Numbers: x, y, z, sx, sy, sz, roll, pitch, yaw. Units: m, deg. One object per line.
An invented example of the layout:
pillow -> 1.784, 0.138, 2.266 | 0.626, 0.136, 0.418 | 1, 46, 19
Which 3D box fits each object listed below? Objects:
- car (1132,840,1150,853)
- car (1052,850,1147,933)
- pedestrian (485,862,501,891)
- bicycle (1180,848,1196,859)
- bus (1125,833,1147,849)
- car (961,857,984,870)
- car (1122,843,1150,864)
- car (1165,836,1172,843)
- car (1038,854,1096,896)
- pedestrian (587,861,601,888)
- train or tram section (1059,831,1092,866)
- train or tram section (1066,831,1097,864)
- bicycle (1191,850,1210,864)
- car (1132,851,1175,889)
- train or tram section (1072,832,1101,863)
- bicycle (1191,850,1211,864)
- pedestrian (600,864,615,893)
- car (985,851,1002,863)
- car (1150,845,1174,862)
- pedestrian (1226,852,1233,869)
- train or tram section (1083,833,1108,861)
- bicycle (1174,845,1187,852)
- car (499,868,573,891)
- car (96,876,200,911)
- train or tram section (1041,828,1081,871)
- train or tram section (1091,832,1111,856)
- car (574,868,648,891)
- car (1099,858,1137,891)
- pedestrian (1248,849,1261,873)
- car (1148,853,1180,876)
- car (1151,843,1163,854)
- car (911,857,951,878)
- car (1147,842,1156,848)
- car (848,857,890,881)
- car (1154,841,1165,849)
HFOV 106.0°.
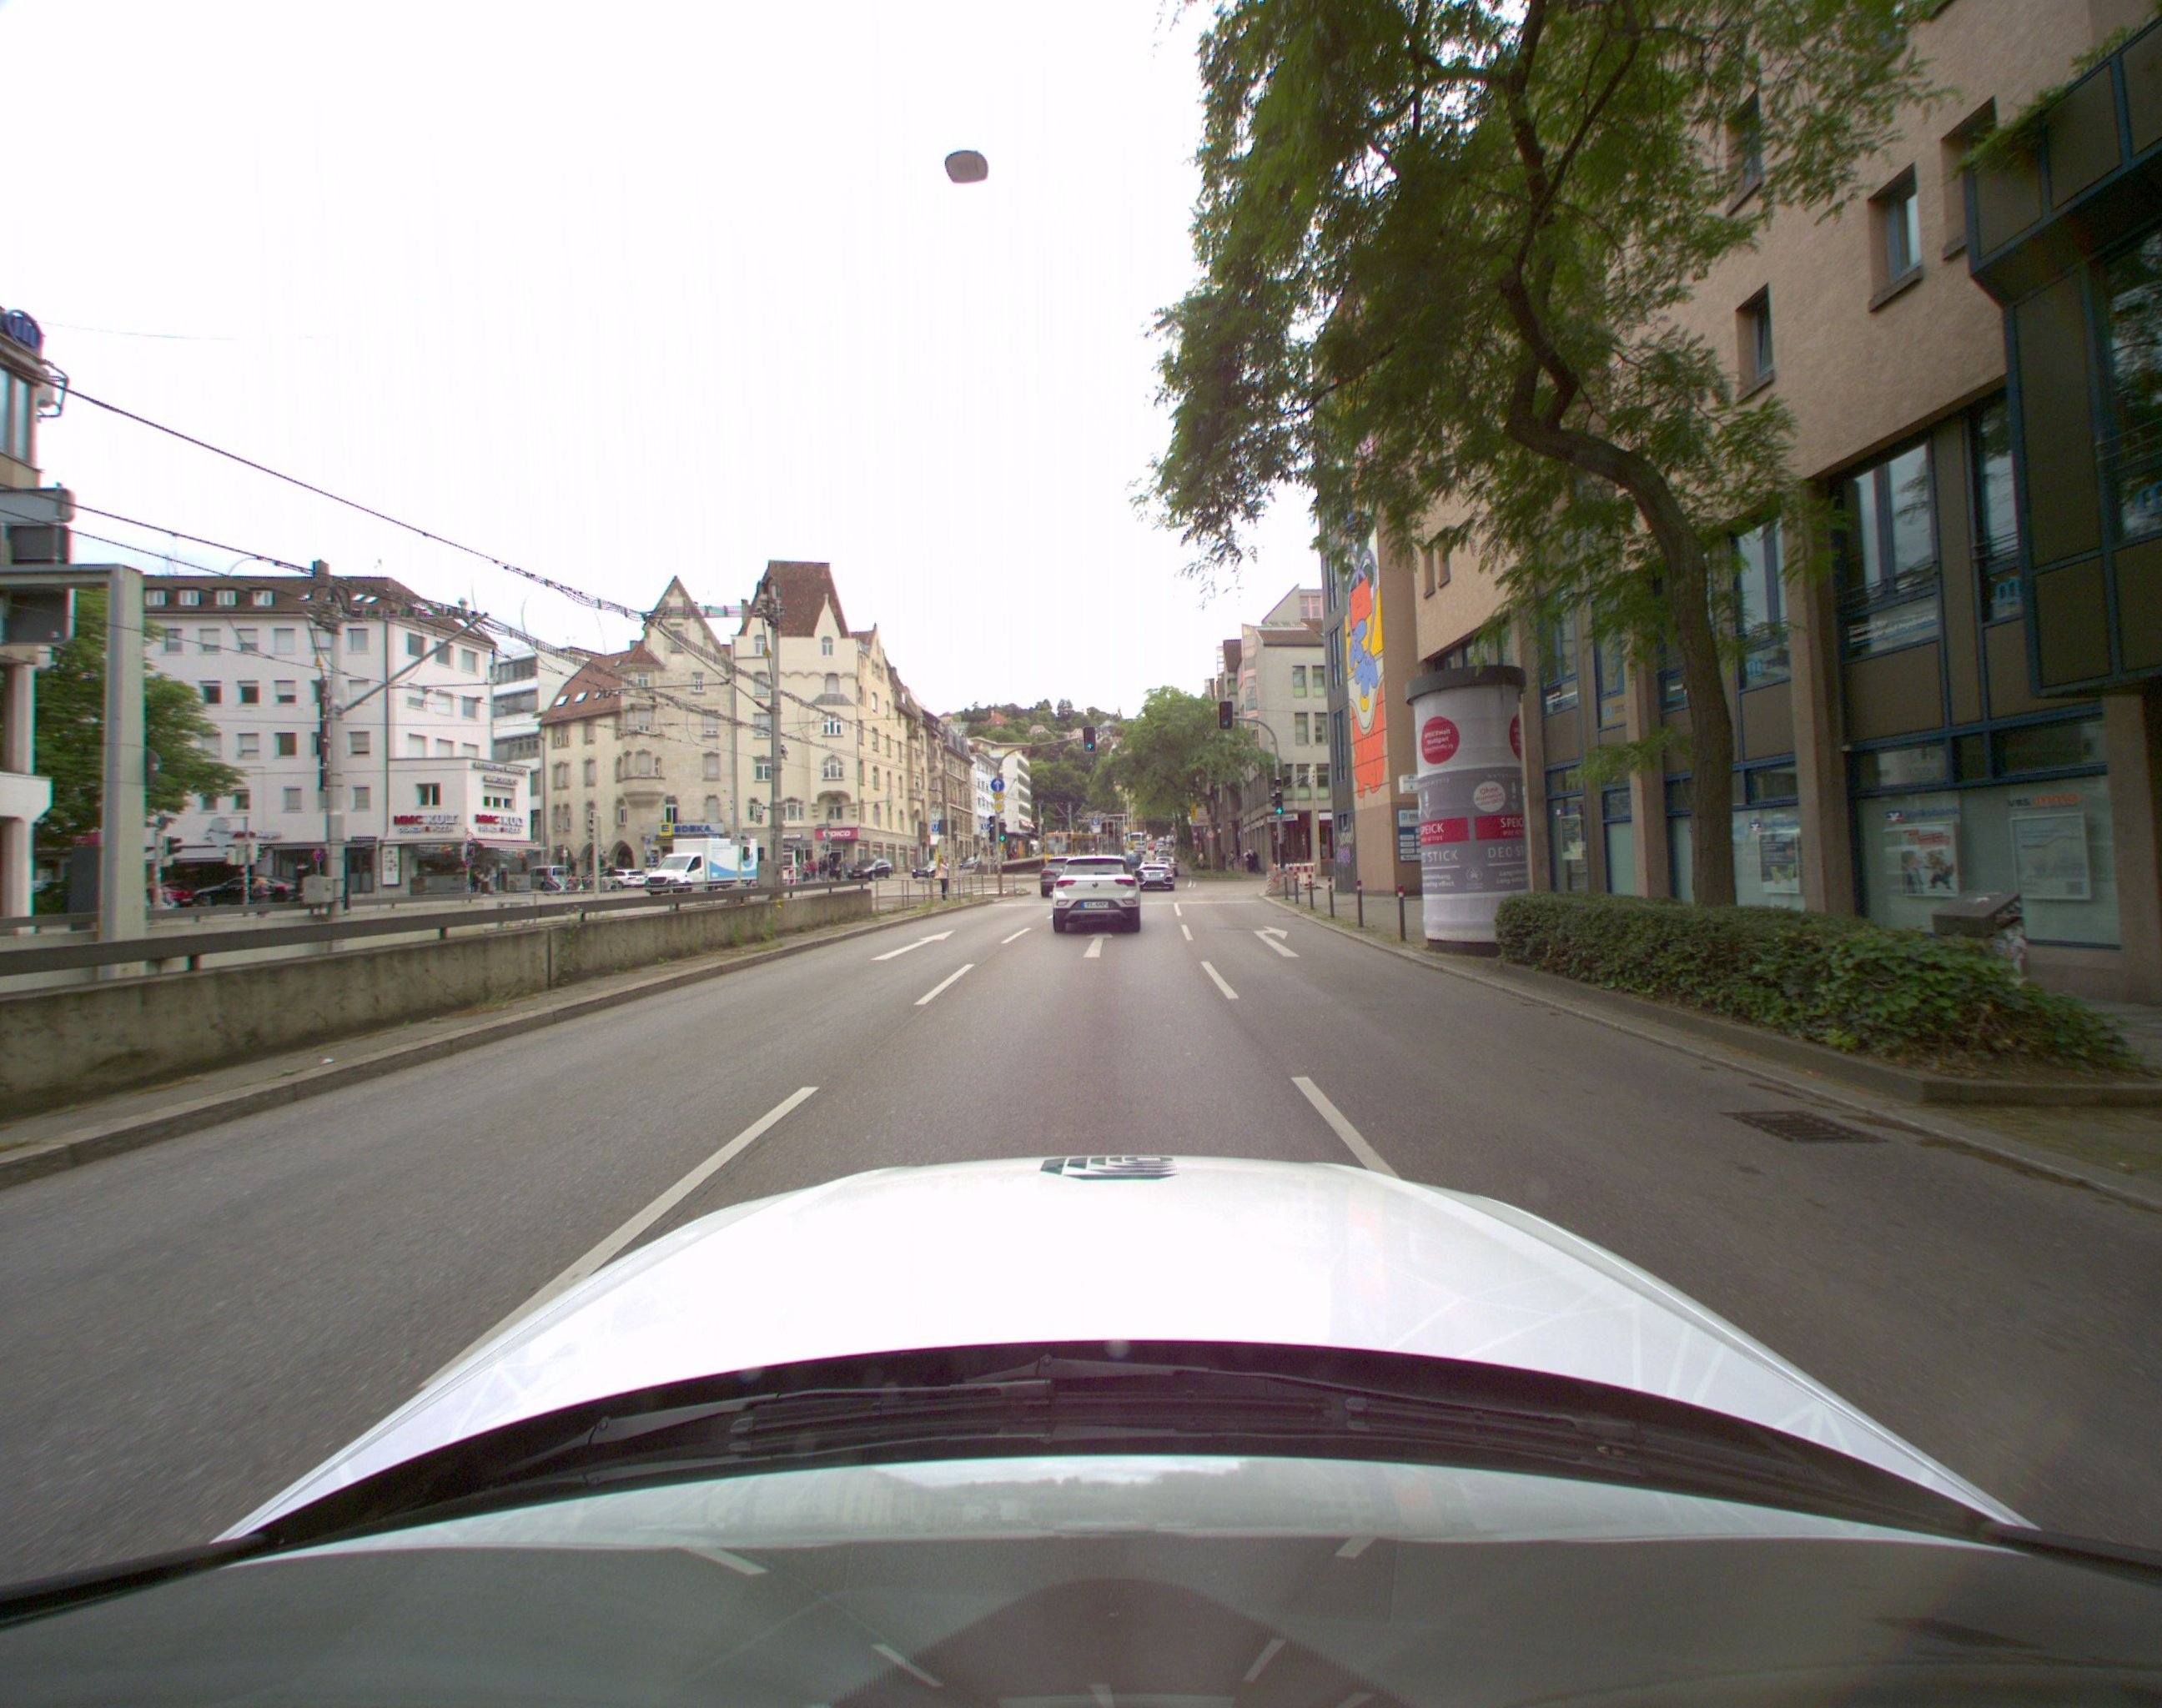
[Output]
car -> 9.583, -1.180, 129.946 | 2.351, 2.014, 5.160 | -1, 0, 9
car -> 0.326, 0.728, 17.846 | 1.832, 1.584, 4.154 | 0, 0, -1
pedestrian -> -36.985, 1.429, 51.220 | 0.506, 1.780, 0.601 | -2, 0, 17
bicycle -> 11.857, -0.042, 90.063 | 1.610, 1.128, 0.615 | -4, 0, 9
bus -> 11.295, -2.604, 165.977 | 3.352, 3.064, 13.357 | -1, 0, 9
car -> -12.599, 1.124, 94.625 | 1.622, 1.375, 3.793 | -2, 0, 10
car -> 5.454, -0.035, 79.723 | 2.351, 2.014, 5.159 | -1, 0, 8
car -> 20.750, -3.457, 193.331 | 1.665, 1.560, 3.684 | -1, 0, 5
car -> -0.516, 0.854, 34.235 | 1.984, 1.636, 4.005 | -1, -1, 5
pedestrian -> -31.560, 1.321, 52.754 | 0.569, 1.780, 0.515 | -2, 0, 31
train or tram section -> -0.514, -0.571, 84.790 | 2.821, 3.520, 5.762 | -1, 1, 6
train or tram section -> 0.111, -0.717, 90.549 | 2.821, 3.520, 5.762 | -1, 1, 6
bicycle -> 11.034, 0.242, 75.235 | 1.703, 1.184, 0.448 | -4, 0, -2
car -> 3.504, 0.733, 38.821 | 1.875, 1.684, 4.169 | -1, 0, 7
train or tram section -> 0.713, -0.801, 96.287 | 2.821, 3.520, 5.762 | -1, 1, 6
bicycle -> 10.990, 0.248, 74.762 | 1.703, 1.184, 0.448 | -4, 0, -2
pedestrian -> -30.176, 1.546, 51.892 | 0.506, 1.780, 0.579 | -2, 0, 17
car -> -11.942, 0.429, 111.766 | 1.551, 1.523, 3.607 | -1, 0, 7
car -> 9.565, -0.035, 96.445 | 2.357, 2.014, 5.148 | -1, 0, 0
pedestrian -> 11.291, 0.501, 61.903 | 0.469, 1.333, 0.520 | -1, -1, 1
train or tram section -> 1.970, -0.953, 108.414 | 2.799, 3.666, 6.763 | -1, 1, 6
bicycle -> 15.018, -0.851, 123.428 | 1.869, 1.137, 0.810 | -1, 0, 11
car -> -38.470, 1.824, 57.482 | 4.467, 1.560, 1.761 | -1, 0, 14
car -> -50.315, 2.139, 43.974 | 3.627, 1.711, 1.650 | -2, 0, -1
train or tram section -> -1.707, -0.441, 73.310 | 2.821, 3.678, 5.762 | -1, 1, 6
train or tram section -> 3.152, -1.641, 129.303 | 2.800, 3.666, 6.760 | -1, 1, 4
car -> -33.377, 1.793, 57.889 | 4.471, 1.560, 1.760 | -1, 0, 10
car -> 2.226, 1.162, 48.017 | 1.901, 1.689, 4.009 | 0, 2, 7
pedestrian -> 12.641, 0.508, 59.256 | 0.756, 1.612, 0.621 | -3, 2, 17
car -> 6.185, 0.762, 60.717 | 1.879, 1.684, 4.159 | 0, 0, -1
car -> 12.124, -0.786, 129.185 | 1.875, 1.684, 4.168 | -1, 0, 6
car -> -12.150, 1.060, 66.280 | 1.646, 1.552, 4.549 | -2, 0, 11
car -> 13.603, -1.727, 156.455 | 1.573, 1.172, 3.686 | -1, 0, 8
car -> -16.570, 1.152, 63.847 | 1.665, 1.759, 4.789 | -1, 0, 6
car -> 17.043, -1.928, 176.138 | 1.872, 1.684, 4.175 | -1, 0, 12
